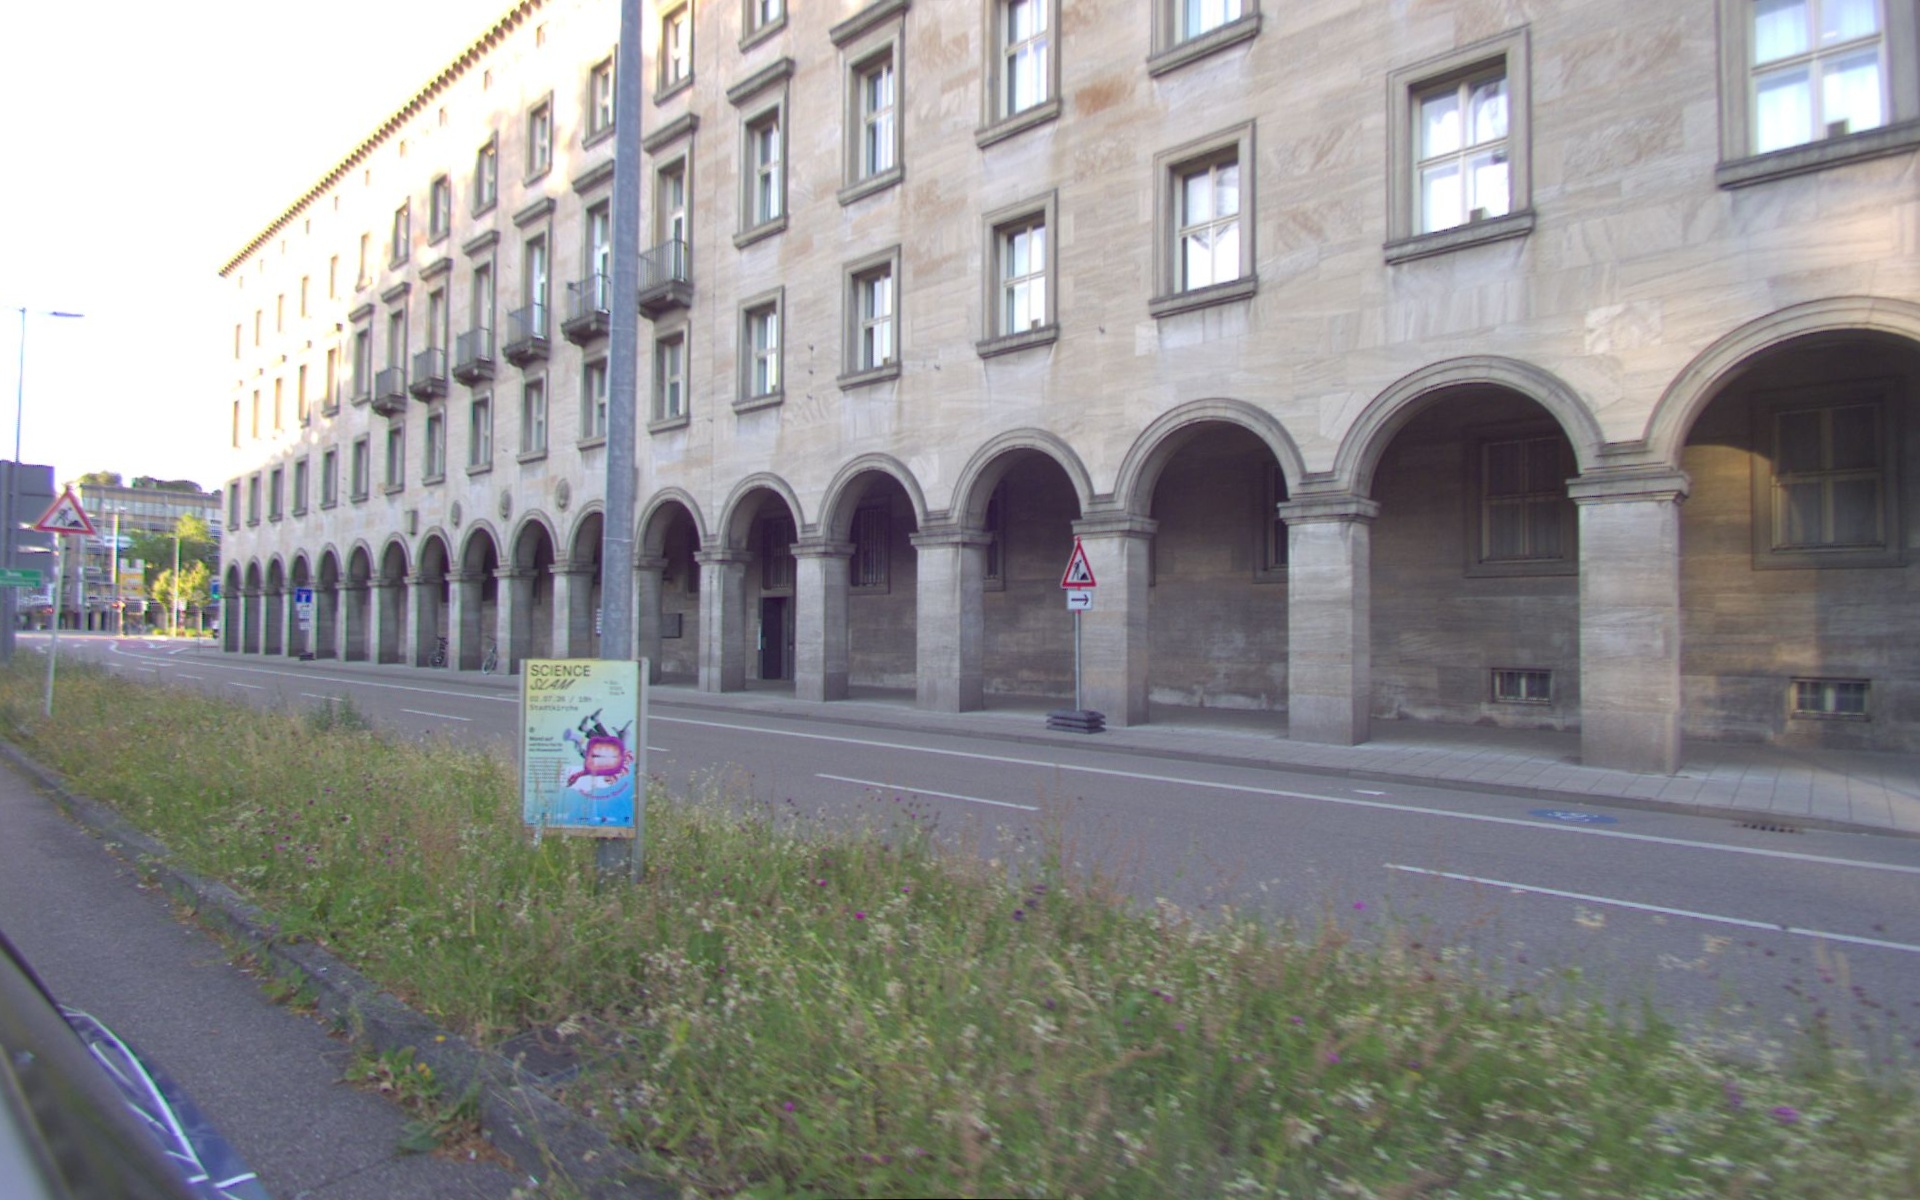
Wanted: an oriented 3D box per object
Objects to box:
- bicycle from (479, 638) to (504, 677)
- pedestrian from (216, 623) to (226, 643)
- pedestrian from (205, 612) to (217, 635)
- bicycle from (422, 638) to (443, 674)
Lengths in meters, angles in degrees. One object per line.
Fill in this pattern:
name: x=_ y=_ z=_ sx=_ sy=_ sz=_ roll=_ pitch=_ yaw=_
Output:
bicycle: x=-14.765 y=1.806 z=31.932 sx=0.505 sy=1.130 sz=2.431 roll=1 pitch=-1 yaw=-20
pedestrian: x=-57.640 y=2.545 z=78.962 sx=0.389 sy=1.553 sz=0.519 roll=-1 pitch=-3 yaw=41
pedestrian: x=-58.104 y=1.861 z=78.539 sx=0.506 sy=1.771 sz=0.630 roll=-1 pitch=-3 yaw=41
bicycle: x=-18.217 y=1.910 z=34.982 sx=0.505 sy=1.188 sz=2.431 roll=1 pitch=-2 yaw=-25
